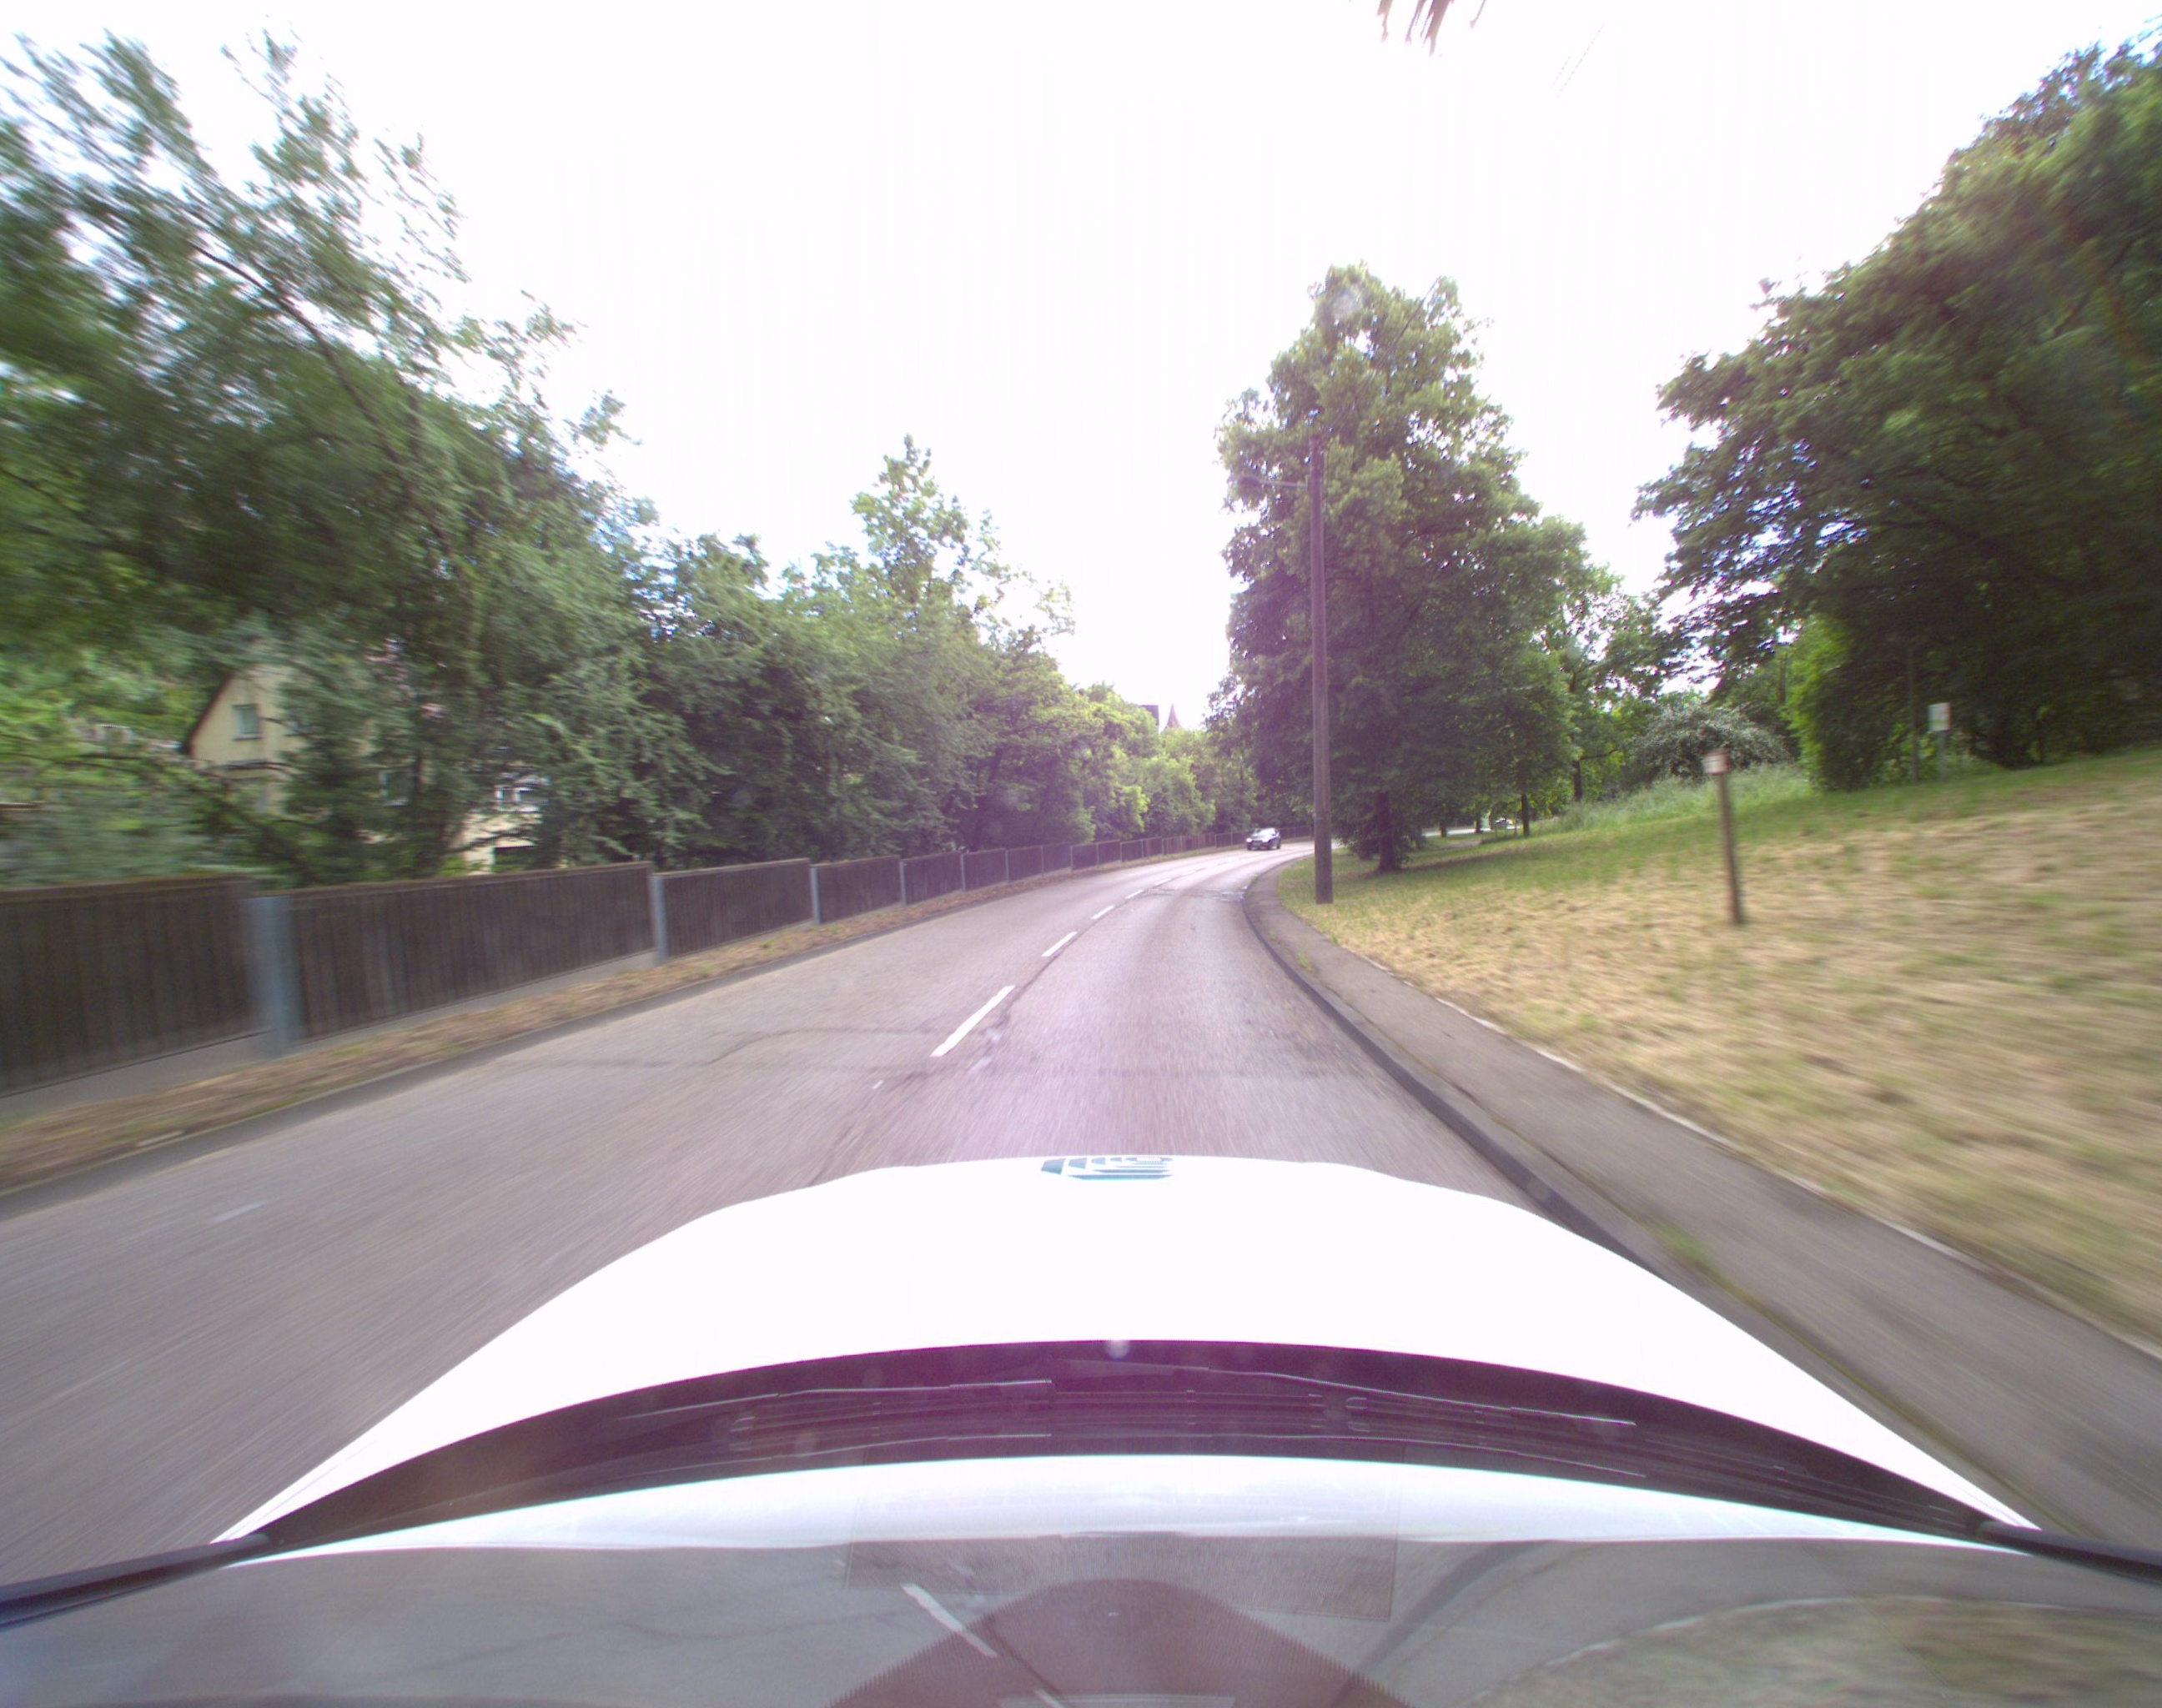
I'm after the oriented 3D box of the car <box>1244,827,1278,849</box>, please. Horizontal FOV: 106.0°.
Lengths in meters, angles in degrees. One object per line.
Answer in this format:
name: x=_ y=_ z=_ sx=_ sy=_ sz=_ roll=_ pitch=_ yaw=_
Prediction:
car: x=13.746 y=-1.243 z=61.992 sx=1.829 sy=1.564 sz=4.256 roll=0 pitch=2 yaw=22
